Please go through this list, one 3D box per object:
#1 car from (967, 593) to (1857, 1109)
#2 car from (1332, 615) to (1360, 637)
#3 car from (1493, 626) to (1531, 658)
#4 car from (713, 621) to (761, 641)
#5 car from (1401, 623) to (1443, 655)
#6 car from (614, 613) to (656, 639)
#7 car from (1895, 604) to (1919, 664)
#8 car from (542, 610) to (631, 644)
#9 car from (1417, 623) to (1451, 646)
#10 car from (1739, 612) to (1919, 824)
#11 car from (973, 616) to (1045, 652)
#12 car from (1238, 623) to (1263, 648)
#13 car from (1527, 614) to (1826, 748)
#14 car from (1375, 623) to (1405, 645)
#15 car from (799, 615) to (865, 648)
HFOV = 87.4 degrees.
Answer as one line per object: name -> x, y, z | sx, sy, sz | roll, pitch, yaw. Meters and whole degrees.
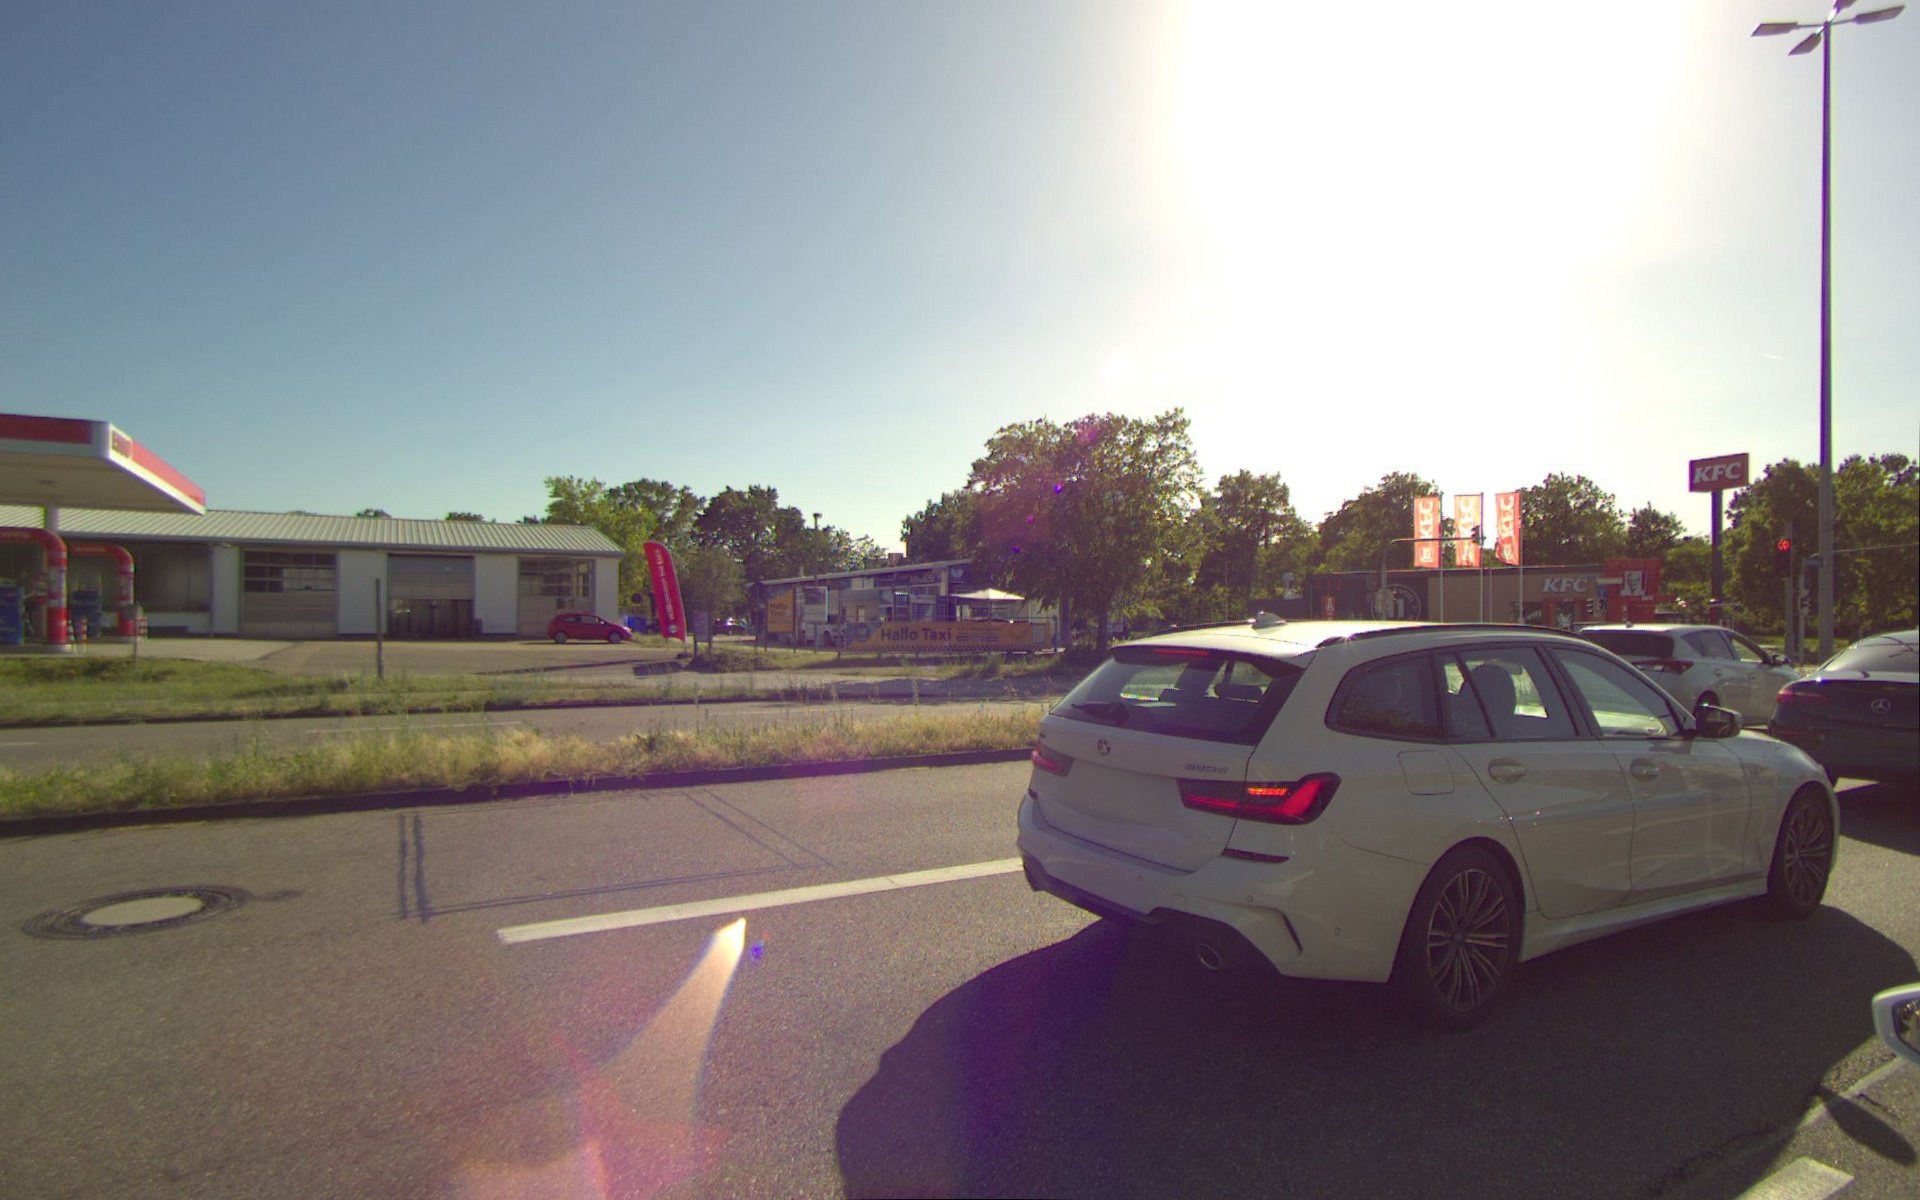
car -> 2.354, 0.795, 4.863 | 4.353, 1.510, 1.776 | 2, 0, -31
car -> 28.263, 1.892, 73.642 | 1.629, 1.491, 3.919 | 2, 0, 18
car -> 33.062, 2.473, 60.189 | 1.880, 1.776, 4.349 | 2, 0, 29
car -> -19.421, 2.716, 87.624 | 3.929, 1.634, 1.996 | 2, 0, -11
car -> 28.316, 2.341, 61.507 | 1.964, 1.788, 4.349 | 2, 0, 29
car -> -19.322, 1.542, 59.693 | 1.634, 1.383, 3.744 | 2, 0, -29
car -> 42.348, 1.465, 42.829 | 5.754, 2.478, 2.013 | 2, -4, -31
car -> -18.375, 1.330, 49.395 | 3.946, 1.537, 1.772 | 2, 0, -25
car -> 33.907, 2.454, 71.934 | 1.629, 1.491, 3.919 | 2, 0, 18
car -> 8.745, 0.929, 8.626 | 4.425, 1.510, 1.787 | 2, 0, -31
car -> 2.368, 1.664, 49.546 | 1.839, 1.613, 3.974 | 2, 0, -26
car -> 21.784, 2.620, 75.140 | 1.629, 1.695, 3.945 | 2, 0, 18
car -> 9.594, 1.000, 13.385 | 4.150, 1.510, 1.750 | 2, 0, -31
car -> 31.275, 2.444, 73.207 | 1.629, 1.491, 3.919 | 2, 0, 18
car -> -6.797, 1.632, 53.108 | 1.978, 1.584, 3.964 | 2, 0, -32
